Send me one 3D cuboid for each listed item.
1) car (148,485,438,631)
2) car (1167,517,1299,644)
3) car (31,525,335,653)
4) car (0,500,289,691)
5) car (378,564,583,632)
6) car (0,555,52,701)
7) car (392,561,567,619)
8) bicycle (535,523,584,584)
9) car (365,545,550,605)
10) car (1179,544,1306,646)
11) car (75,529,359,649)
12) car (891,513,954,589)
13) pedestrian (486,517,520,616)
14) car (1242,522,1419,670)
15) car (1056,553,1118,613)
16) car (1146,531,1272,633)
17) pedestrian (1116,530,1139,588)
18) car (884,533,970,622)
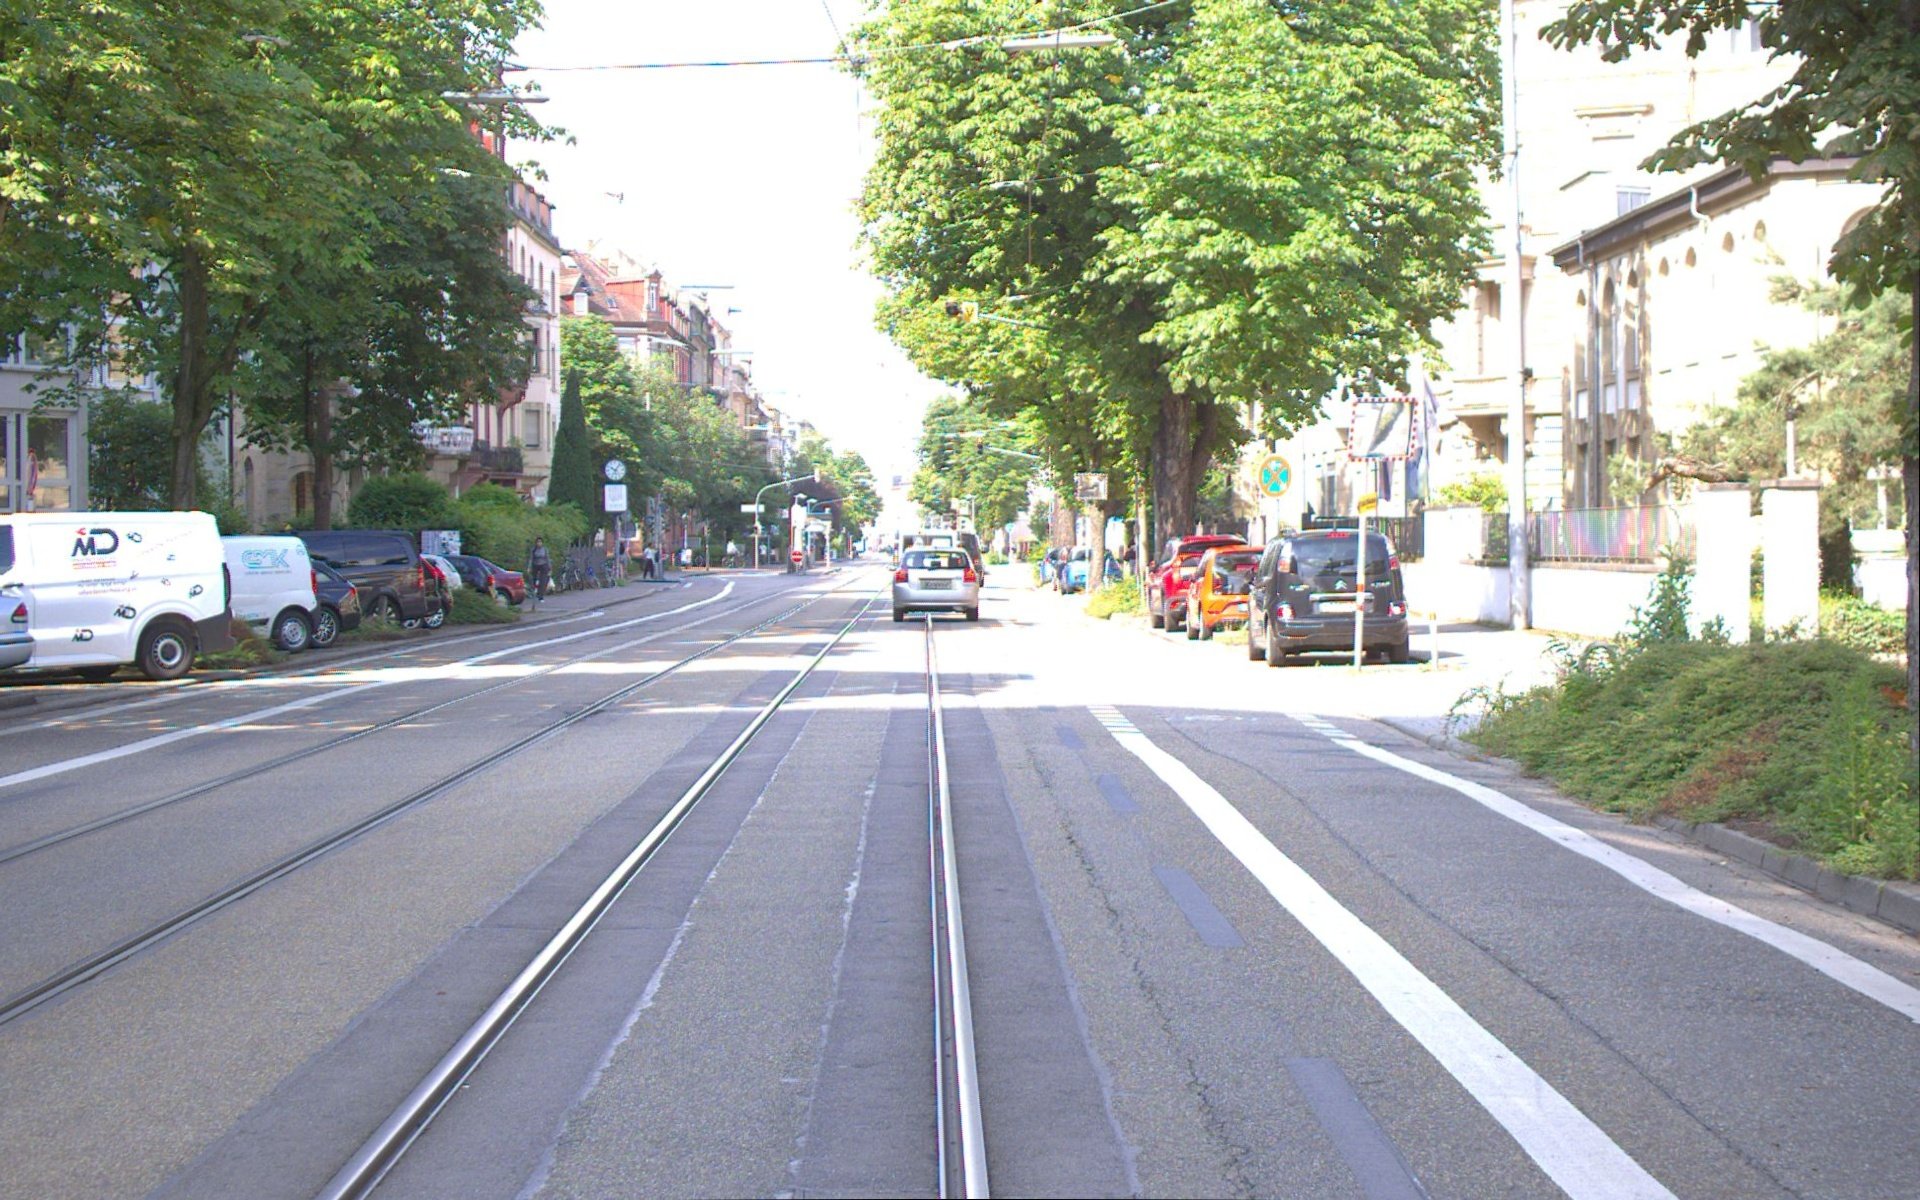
[{"bbox_3d":[-10.865,-0.668,56.182,1.882,2.074,4.193,5,1,44],"label":"car"},{"bbox_3d":[4.217,-0.332,53.463,1.674,1.605,3.586,-2,5,-1],"label":"car"},{"bbox_3d":[-10.949,-0.174,48.571,1.882,1.706,3.749,2,2,44],"label":"car"},{"bbox_3d":[-10.192,-0.062,39.036,4.630,1.905,1.931,-5,4,-42],"label":"car"},{"bbox_3d":[-9.652,-0.046,69.296,3.775,1.302,1.638,0,1,-39],"label":"car"},{"bbox_3d":[-11.378,0.364,34.858,3.774,1.470,1.725,-4,3,-43],"label":"car"},{"bbox_3d":[-11.290,-0.233,80.909,3.775,1.302,1.638,0,1,-39],"label":"car"},{"bbox_3d":[-11.721,-1.374,100.674,0.938,1.740,2.284,1,1,5],"label":"bicycle"},{"bbox_3d":[-11.266,-0.554,77.151,3.775,1.302,1.638,0,1,-39],"label":"car"},{"bbox_3d":[4.359,-0.109,53.468,1.667,1.481,3.280,-1,1,0],"label":"car"},{"bbox_3d":[-11.166,-0.183,51.800,1.882,1.706,3.749,2,2,44],"label":"car"},{"bbox_3d":[-1.009,-1.338,92.714,1.621,1.993,3.565,1,1,-1],"label":"car"},{"bbox_3d":[-9.348,-0.696,70.282,0.616,2.007,0.501,1,1,-1],"label":"pedestrian"},{"bbox_3d":[4.463,-0.089,41.846,1.674,1.606,3.585,-2,2,-1],"label":"car"},{"bbox_3d":[3.693,-0.514,100.545,1.621,1.678,3.565,1,1,-1],"label":"car"},{"bbox_3d":[4.342,-0.350,60.511,1.960,1.700,4.000,1,1,1],"label":"car"},{"bbox_3d":[5.860,-1.452,120.206,0.760,2.007,0.764,1,1,1],"label":"pedestrian"},{"bbox_3d":[-0.647,-0.464,67.555,1.621,1.678,3.565,1,1,-1],"label":"car"}]
